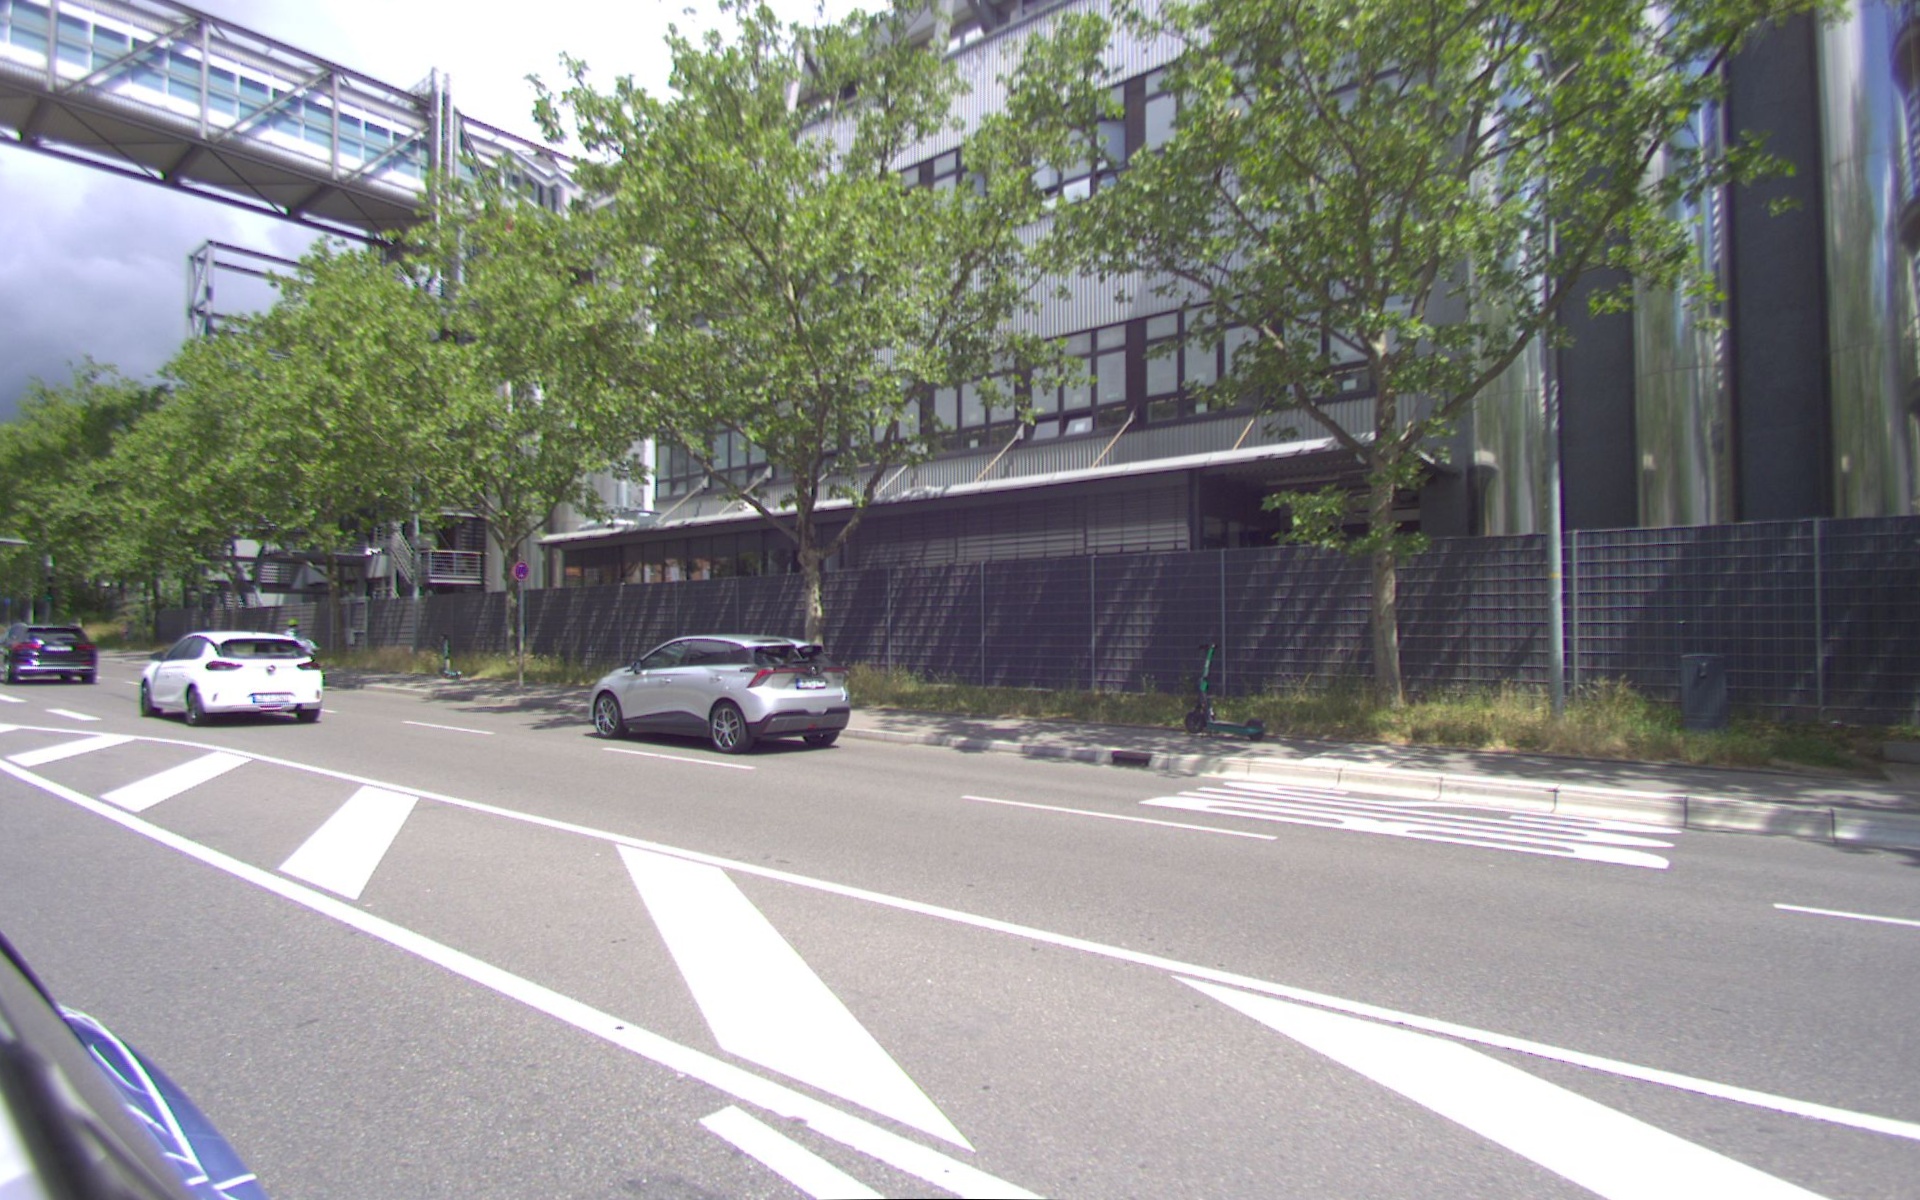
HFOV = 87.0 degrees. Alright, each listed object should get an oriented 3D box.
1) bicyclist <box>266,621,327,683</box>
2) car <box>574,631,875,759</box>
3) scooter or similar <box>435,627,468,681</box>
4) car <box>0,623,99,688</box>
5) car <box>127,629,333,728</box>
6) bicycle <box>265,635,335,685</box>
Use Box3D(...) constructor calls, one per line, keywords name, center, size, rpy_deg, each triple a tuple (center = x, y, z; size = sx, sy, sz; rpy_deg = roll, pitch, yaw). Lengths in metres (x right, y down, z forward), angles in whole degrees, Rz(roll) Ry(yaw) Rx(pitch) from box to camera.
Box3D(name="bicyclist", center=(-17.966, 1.400, 27.413), size=(1.220, 1.610, 0.947), rpy_deg=(-1, -4, 36))
Box3D(name="car", center=(-3.347, 1.220, 14.052), size=(4.185, 1.517, 1.860), rpy_deg=(-2, -4, 38))
Box3D(name="scooter or similar", center=(-13.662, 1.433, 27.199), size=(1.234, 1.414, 0.300), rpy_deg=(-1, 0, 39))
Box3D(name="car", center=(-24.595, 1.435, 26.946), size=(4.262, 1.593, 1.723), rpy_deg=(-1, -4, 39))
Box3D(name="car", center=(-12.123, 1.226, 16.714), size=(4.140, 1.426, 1.675), rpy_deg=(-1, -4, 39))
Box3D(name="bicycle", center=(-17.762, 1.598, 27.208), size=(2.469, 1.244, 0.729), rpy_deg=(-1, -3, 37))
